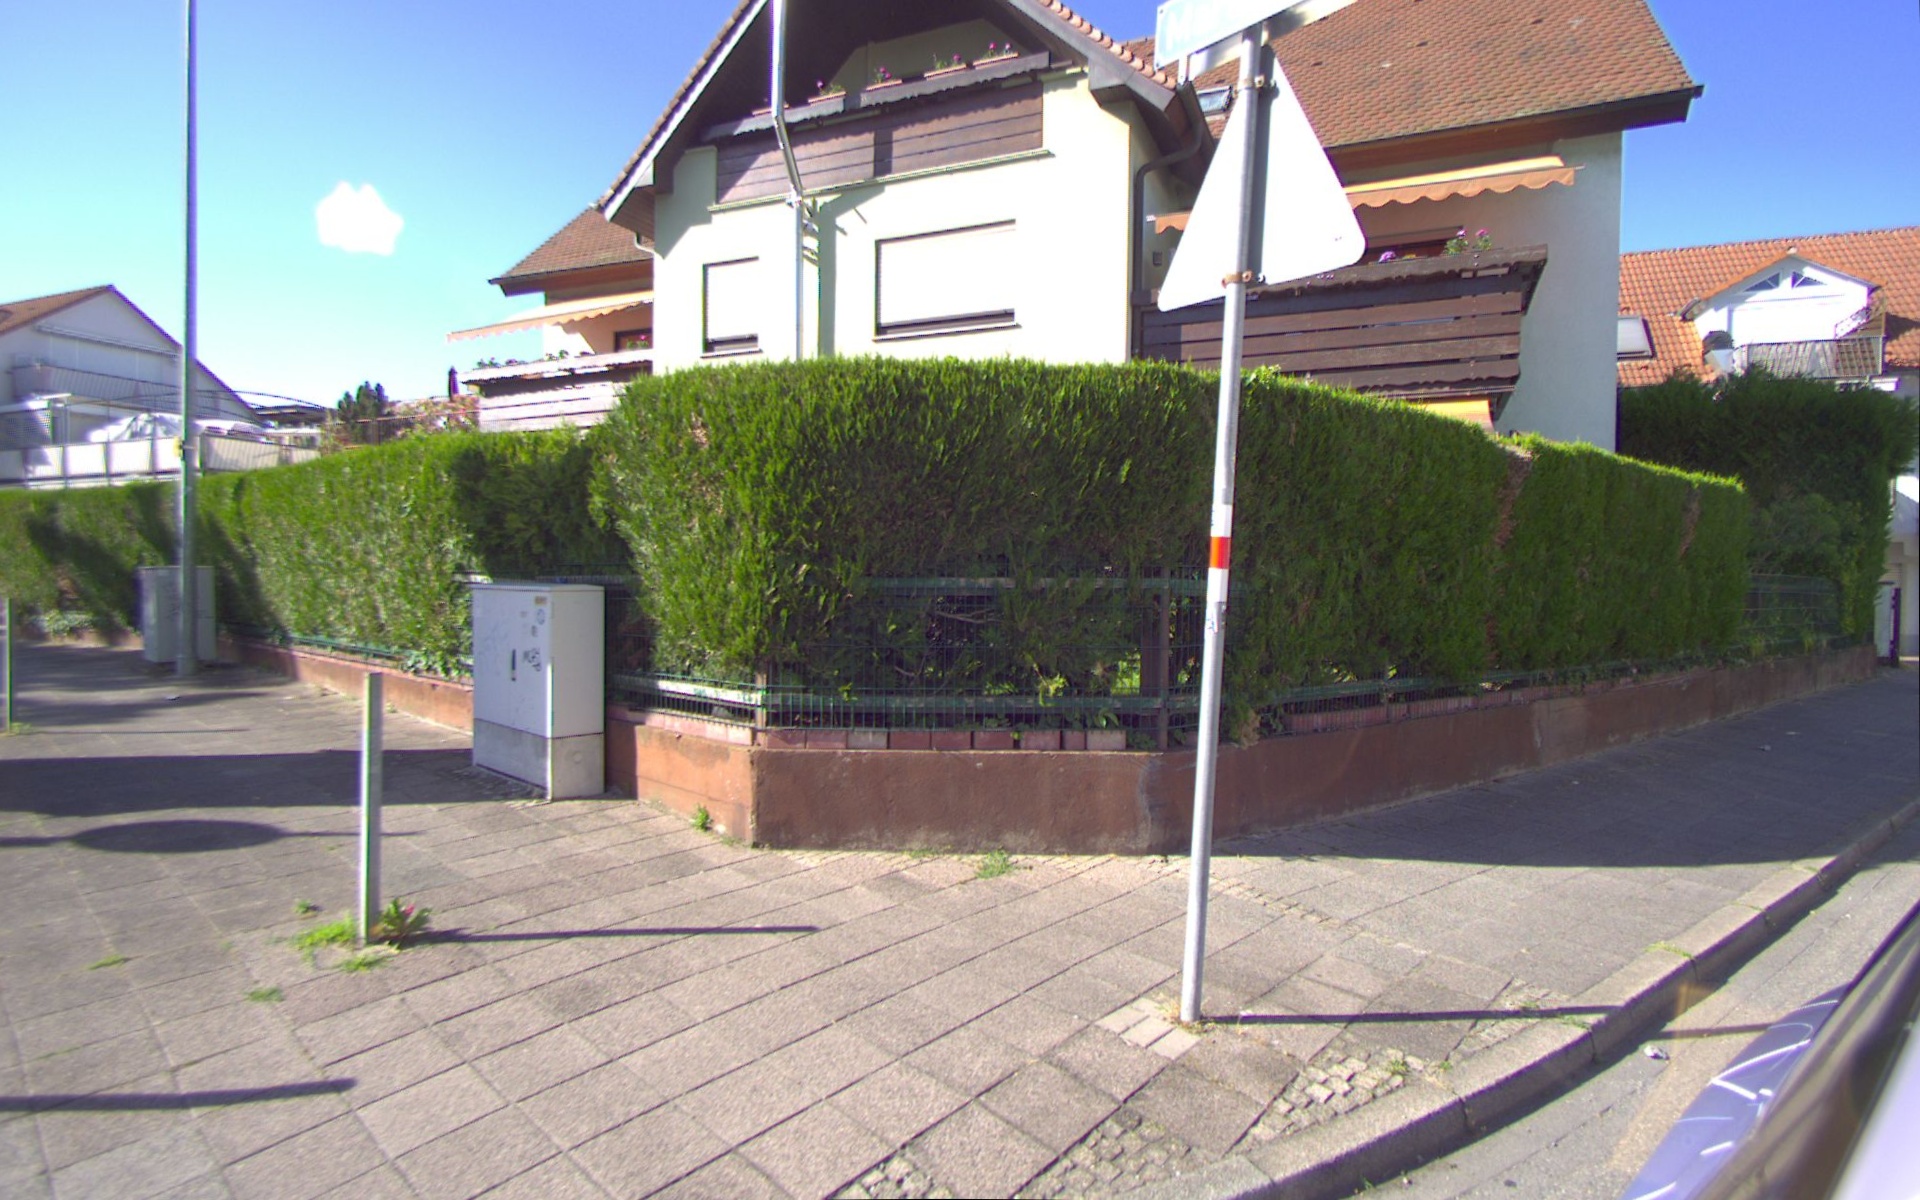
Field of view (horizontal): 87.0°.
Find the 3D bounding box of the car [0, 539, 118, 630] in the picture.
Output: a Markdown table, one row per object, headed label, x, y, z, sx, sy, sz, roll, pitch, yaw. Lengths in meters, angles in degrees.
| label | x | y | z | sx | sy | sz | roll | pitch | yaw |
| --- | --- | --- | --- | --- | --- | --- | --- | --- | --- |
| car | -16.903 | -0.276 | 17.145 | 1.682 | 1.517 | 3.690 | 2 | 3 | 27 |
